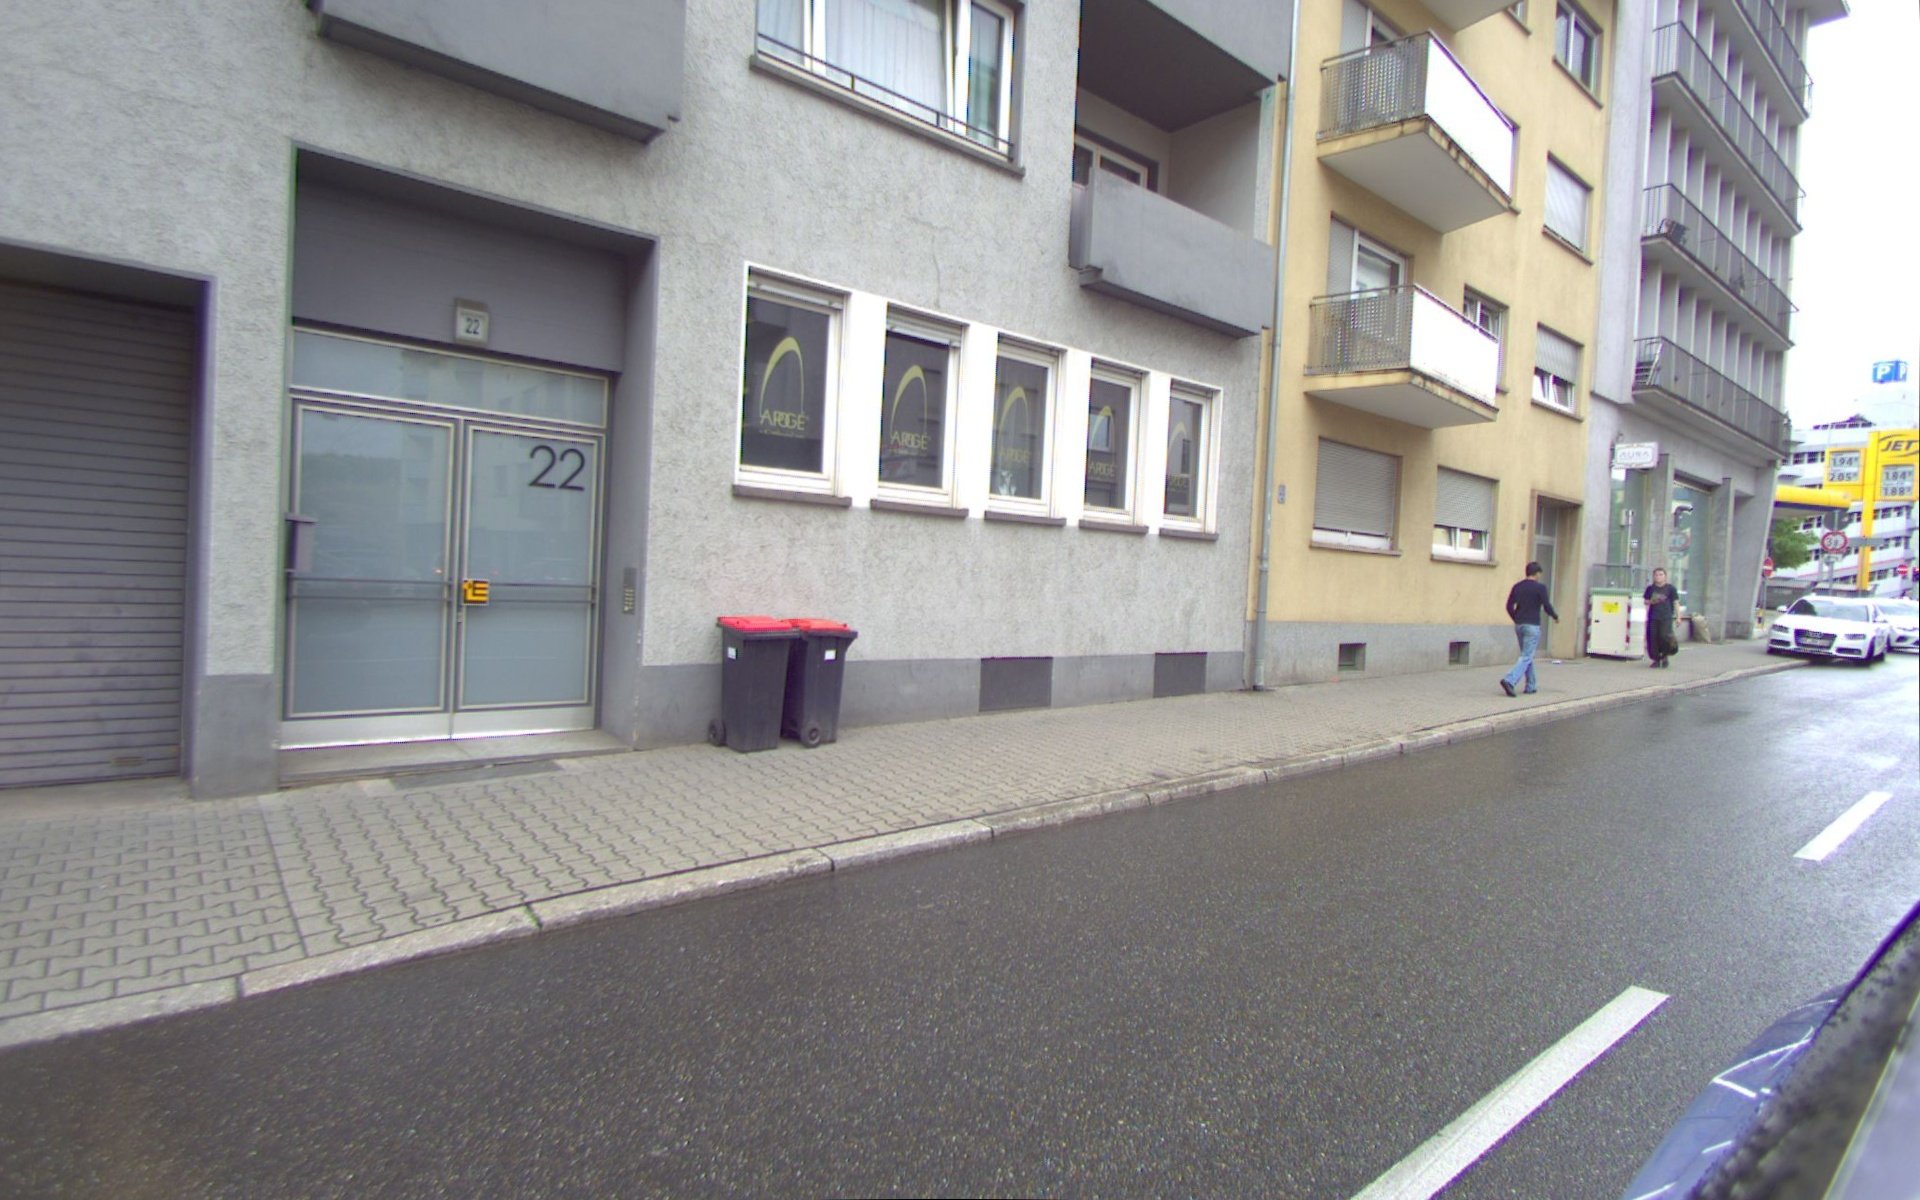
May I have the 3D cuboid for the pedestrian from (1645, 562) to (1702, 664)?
[{"bbox_3d":[12.923,0.213,18.336,0.677,1.777,0.875,4,3,42],"label":"pedestrian"}]

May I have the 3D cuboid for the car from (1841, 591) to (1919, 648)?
[{"bbox_3d":[26.481,0.514,28.094,1.750,1.492,3.972,0,0,21],"label":"car"}]

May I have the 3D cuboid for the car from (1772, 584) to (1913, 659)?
[{"bbox_3d":[20.117,0.423,23.021,4.093,1.453,1.803,0,4,-41],"label":"car"}]

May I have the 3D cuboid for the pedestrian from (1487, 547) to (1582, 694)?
[{"bbox_3d":[7.450,0.240,13.118,1.038,1.799,0.644,0,5,-41],"label":"pedestrian"}]

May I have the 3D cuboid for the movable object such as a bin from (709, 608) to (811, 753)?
[{"bbox_3d":[-1.478,0.567,7.460,0.506,0.967,0.541,0,5,-40],"label":"movable object such as a bin"}]

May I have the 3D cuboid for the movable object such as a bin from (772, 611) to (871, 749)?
[{"bbox_3d":[-1.073,0.593,7.798,0.506,0.961,0.541,0,5,-40],"label":"movable object such as a bin"}]
